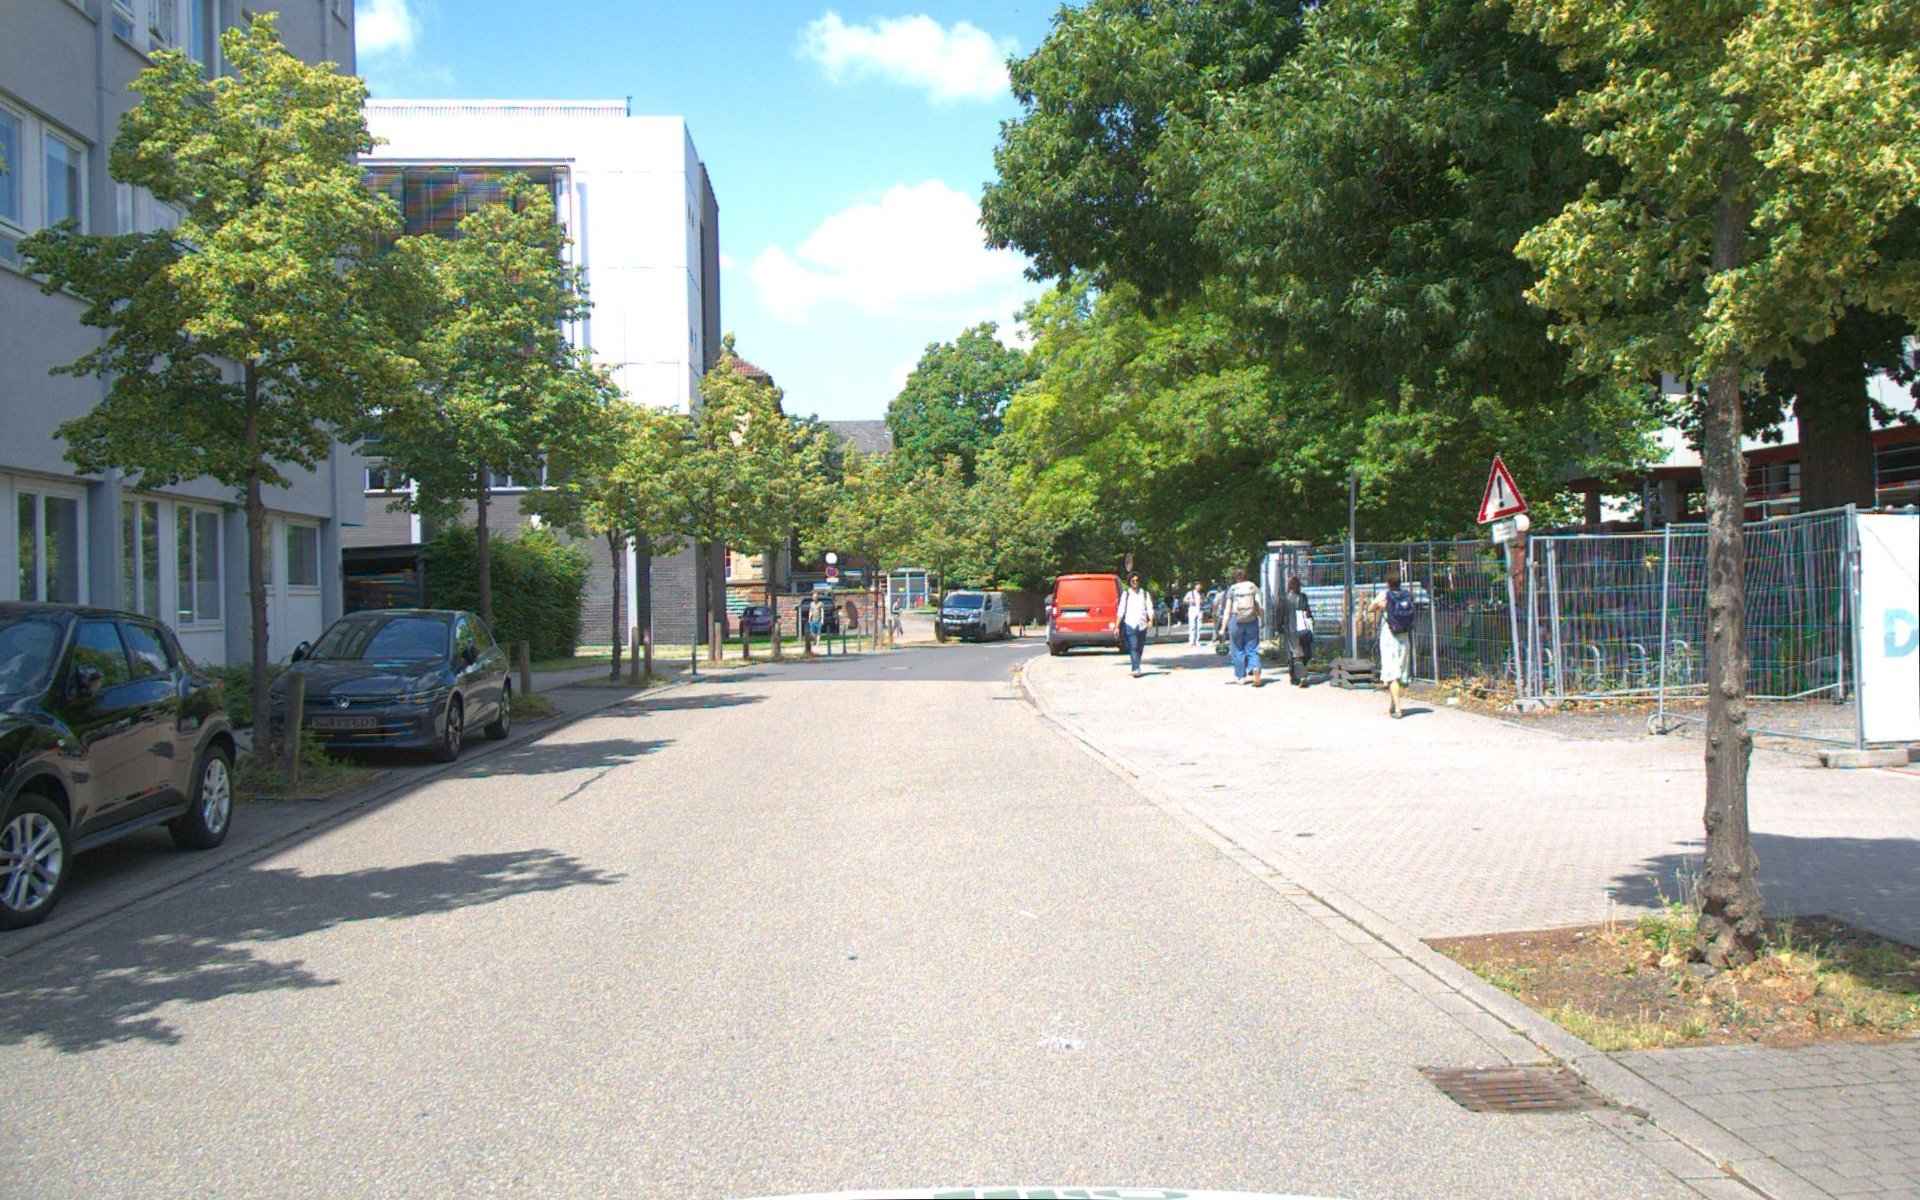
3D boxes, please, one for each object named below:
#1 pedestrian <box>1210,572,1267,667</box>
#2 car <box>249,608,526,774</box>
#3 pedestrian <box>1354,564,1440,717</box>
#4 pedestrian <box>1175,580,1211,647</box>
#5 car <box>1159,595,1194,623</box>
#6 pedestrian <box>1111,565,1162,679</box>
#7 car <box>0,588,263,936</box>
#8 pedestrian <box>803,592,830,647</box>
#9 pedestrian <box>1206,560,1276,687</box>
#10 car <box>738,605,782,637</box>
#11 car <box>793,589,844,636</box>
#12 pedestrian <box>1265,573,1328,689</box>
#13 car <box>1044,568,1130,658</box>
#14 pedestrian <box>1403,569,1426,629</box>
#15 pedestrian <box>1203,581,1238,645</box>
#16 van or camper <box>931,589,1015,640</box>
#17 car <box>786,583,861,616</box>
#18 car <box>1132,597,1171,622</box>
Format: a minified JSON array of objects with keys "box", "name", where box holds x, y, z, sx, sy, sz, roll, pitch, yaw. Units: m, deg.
[{"box":[4.956,0.340,29.422,0.703,1.660,0.706,-1,-1,-23],"name":"pedestrian"},{"box":[-5.761,0.830,17.186,1.743,1.486,4.254,0,0,-5],"name":"car"},{"box":[5.004,0.453,18.989,0.636,1.695,0.903,-2,0,-5],"name":"pedestrian"},{"box":[6.519,0.376,46.275,0.717,1.853,0.621,-1,-1,-39],"name":"pedestrian"},{"box":[13.959,0.556,106.403,1.581,1.708,4.002,-1,0,17],"name":"car"},{"box":[2.877,0.350,27.042,0.680,1.812,0.786,-2,0,-2],"name":"pedestrian"},{"box":[-5.376,0.759,9.084,1.664,1.591,4.063,-1,0,-5],"name":"car"},{"box":[-4.724,0.632,54.410,0.571,1.795,0.912,-1,0,14],"name":"pedestrian"},{"box":[4.097,0.340,24.130,0.833,1.794,0.715,-2,0,-2],"name":"pedestrian"},{"box":[-8.810,0.903,73.097,1.782,1.347,3.764,-1,0,-5],"name":"car"},{"box":[-6.293,0.547,73.304,2.133,1.959,5.180,-1,0,-6],"name":"car"},{"box":[4.881,0.445,24.014,0.655,1.628,0.985,-2,0,-1],"name":"pedestrian"},{"box":[3.062,0.280,38.981,1.809,1.924,4.894,-2,0,6],"name":"car"},{"box":[14.344,-0.042,52.191,0.532,1.869,0.762,-1,-1,4],"name":"pedestrian"},{"box":[7.157,0.345,45.466,0.738,1.740,0.556,-1,-1,-40],"name":"pedestrian"},{"box":[0.583,0.542,65.498,1.912,1.957,5.423,0,0,16],"name":"van or camper"},{"box":[-8.184,-0.016,99.369,4.097,1.855,1.988,-1,0,-21],"name":"car"},{"box":[11.354,0.534,98.110,1.581,1.412,4.002,-1,0,17],"name":"car"}]
